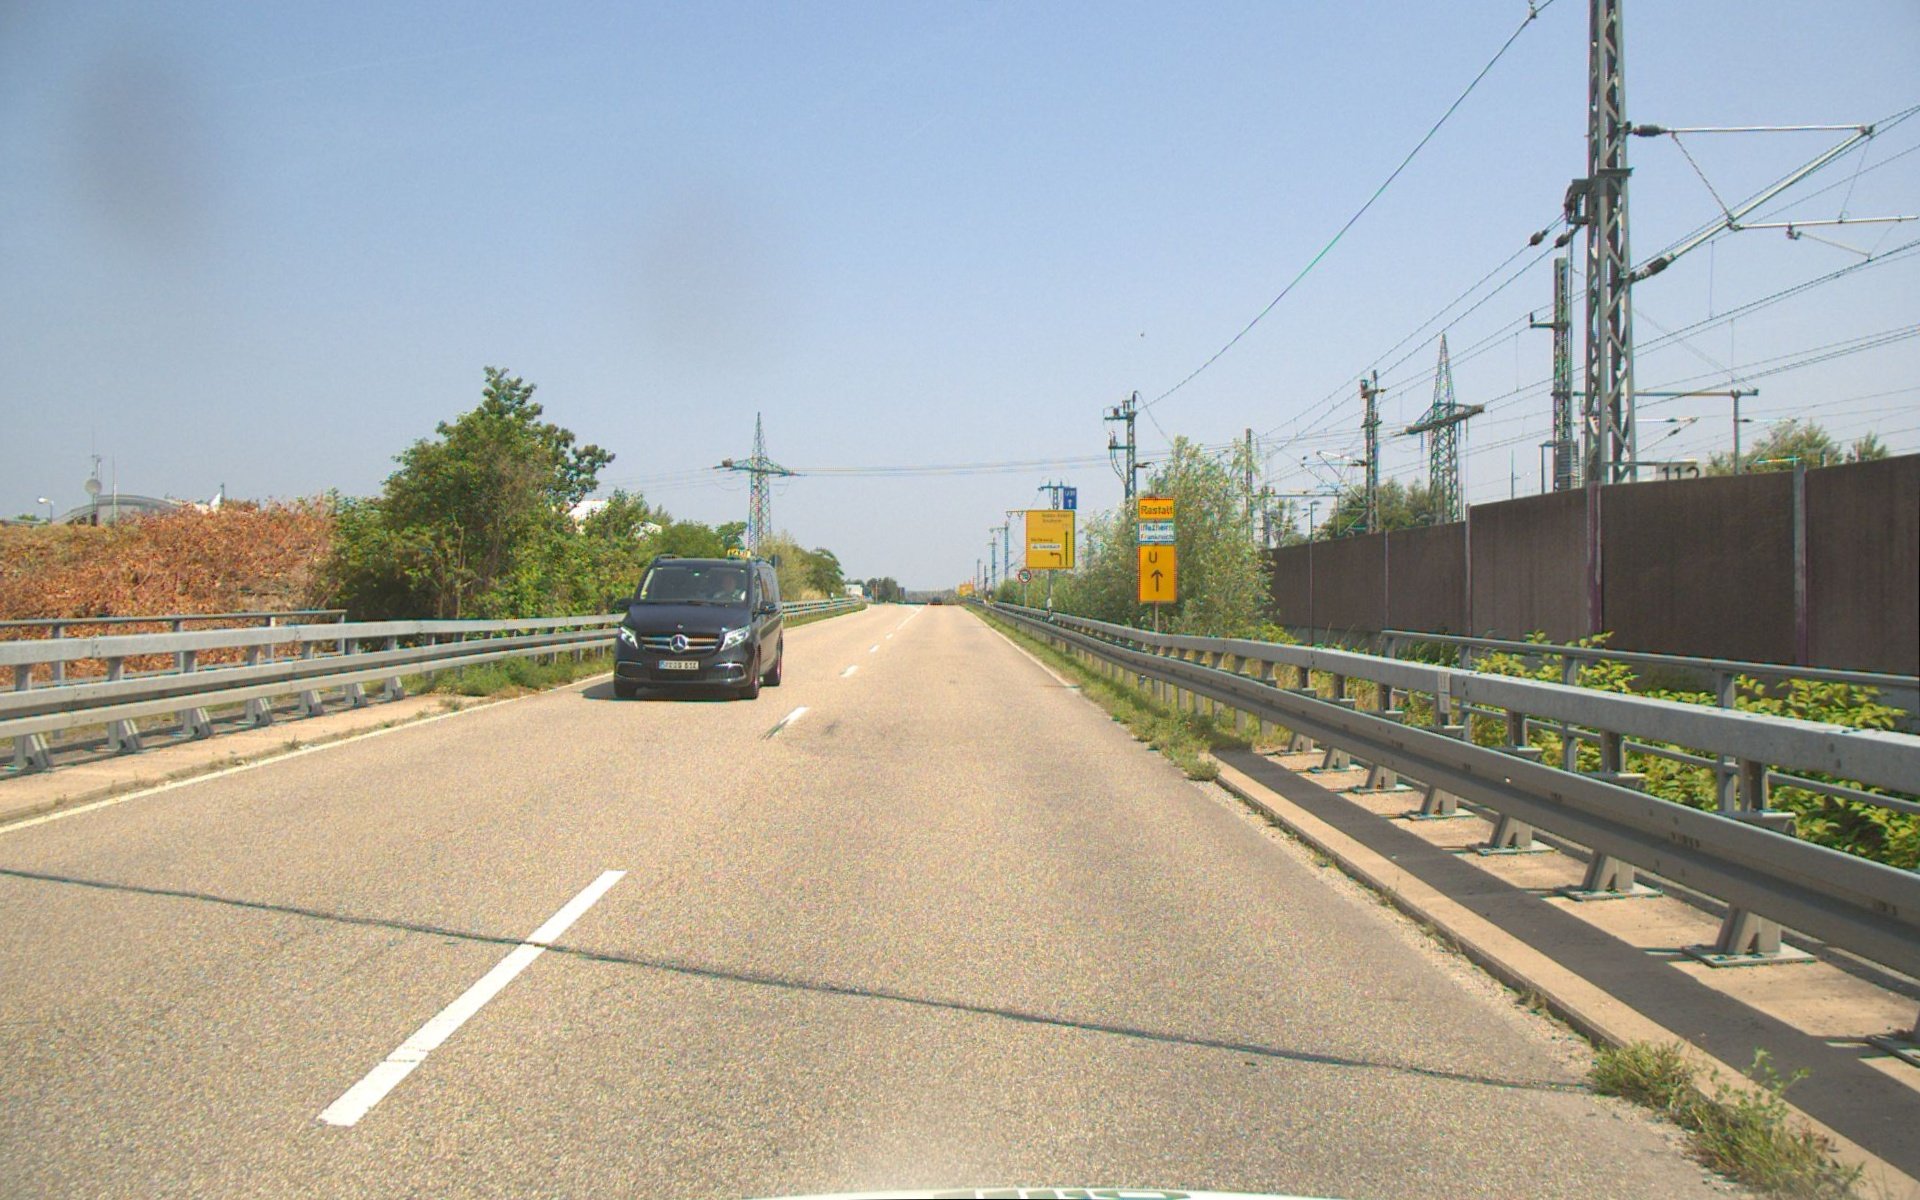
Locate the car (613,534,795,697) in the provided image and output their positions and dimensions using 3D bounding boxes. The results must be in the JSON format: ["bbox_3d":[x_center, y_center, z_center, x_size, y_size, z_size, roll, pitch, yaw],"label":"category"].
[{"bbox_3d":[-3.544,0.175,23.818,1.854,2.049,5.368,1,0,-1],"label":"car"}]
